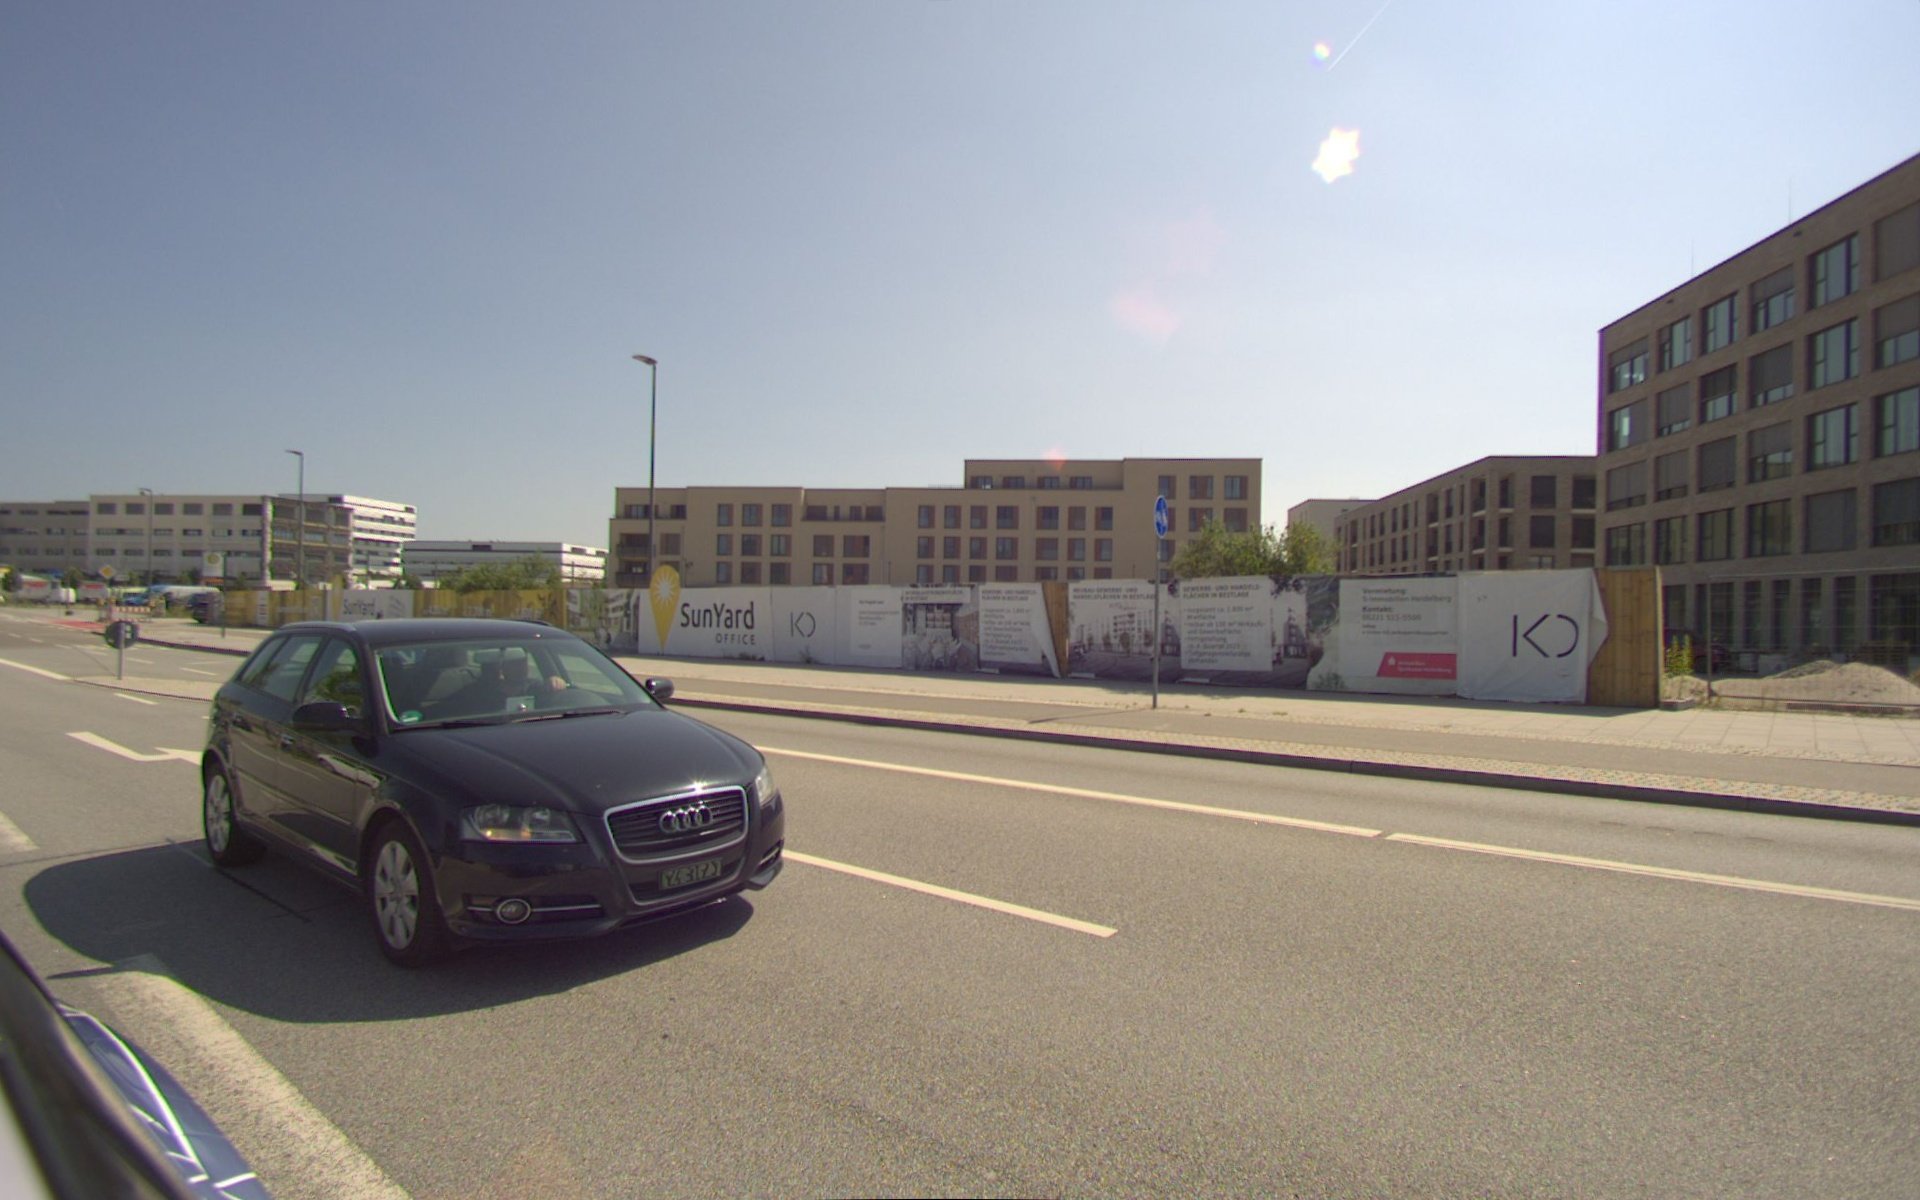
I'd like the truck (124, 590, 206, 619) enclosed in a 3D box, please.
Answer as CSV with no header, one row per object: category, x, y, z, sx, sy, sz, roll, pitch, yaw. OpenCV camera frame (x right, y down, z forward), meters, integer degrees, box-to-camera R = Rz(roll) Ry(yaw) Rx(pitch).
truck,-72.557,0.361,92.411,1.996,2.494,5.567,0,1,36

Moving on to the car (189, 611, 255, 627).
car,-48.337,1.221,66.281,1.293,0.960,3.315,0,1,43

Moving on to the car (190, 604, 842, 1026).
car,-2.610,0.747,5.446,3.998,1.422,1.688,0,1,41

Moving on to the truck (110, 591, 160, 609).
truck,-120.280,-0.026,147.544,1.998,2.494,5.346,0,1,38

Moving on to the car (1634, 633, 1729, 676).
car,31.996,2.378,45.005,1.814,1.666,3.772,0,0,7

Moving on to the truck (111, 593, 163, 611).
truck,-114.949,0.264,141.378,1.996,2.494,5.270,0,1,36

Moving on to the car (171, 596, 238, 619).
car,-60.308,0.580,80.822,1.888,1.731,3.885,0,1,35

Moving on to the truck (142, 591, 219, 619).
truck,-67.194,0.401,87.299,1.998,2.245,4.943,0,1,39
